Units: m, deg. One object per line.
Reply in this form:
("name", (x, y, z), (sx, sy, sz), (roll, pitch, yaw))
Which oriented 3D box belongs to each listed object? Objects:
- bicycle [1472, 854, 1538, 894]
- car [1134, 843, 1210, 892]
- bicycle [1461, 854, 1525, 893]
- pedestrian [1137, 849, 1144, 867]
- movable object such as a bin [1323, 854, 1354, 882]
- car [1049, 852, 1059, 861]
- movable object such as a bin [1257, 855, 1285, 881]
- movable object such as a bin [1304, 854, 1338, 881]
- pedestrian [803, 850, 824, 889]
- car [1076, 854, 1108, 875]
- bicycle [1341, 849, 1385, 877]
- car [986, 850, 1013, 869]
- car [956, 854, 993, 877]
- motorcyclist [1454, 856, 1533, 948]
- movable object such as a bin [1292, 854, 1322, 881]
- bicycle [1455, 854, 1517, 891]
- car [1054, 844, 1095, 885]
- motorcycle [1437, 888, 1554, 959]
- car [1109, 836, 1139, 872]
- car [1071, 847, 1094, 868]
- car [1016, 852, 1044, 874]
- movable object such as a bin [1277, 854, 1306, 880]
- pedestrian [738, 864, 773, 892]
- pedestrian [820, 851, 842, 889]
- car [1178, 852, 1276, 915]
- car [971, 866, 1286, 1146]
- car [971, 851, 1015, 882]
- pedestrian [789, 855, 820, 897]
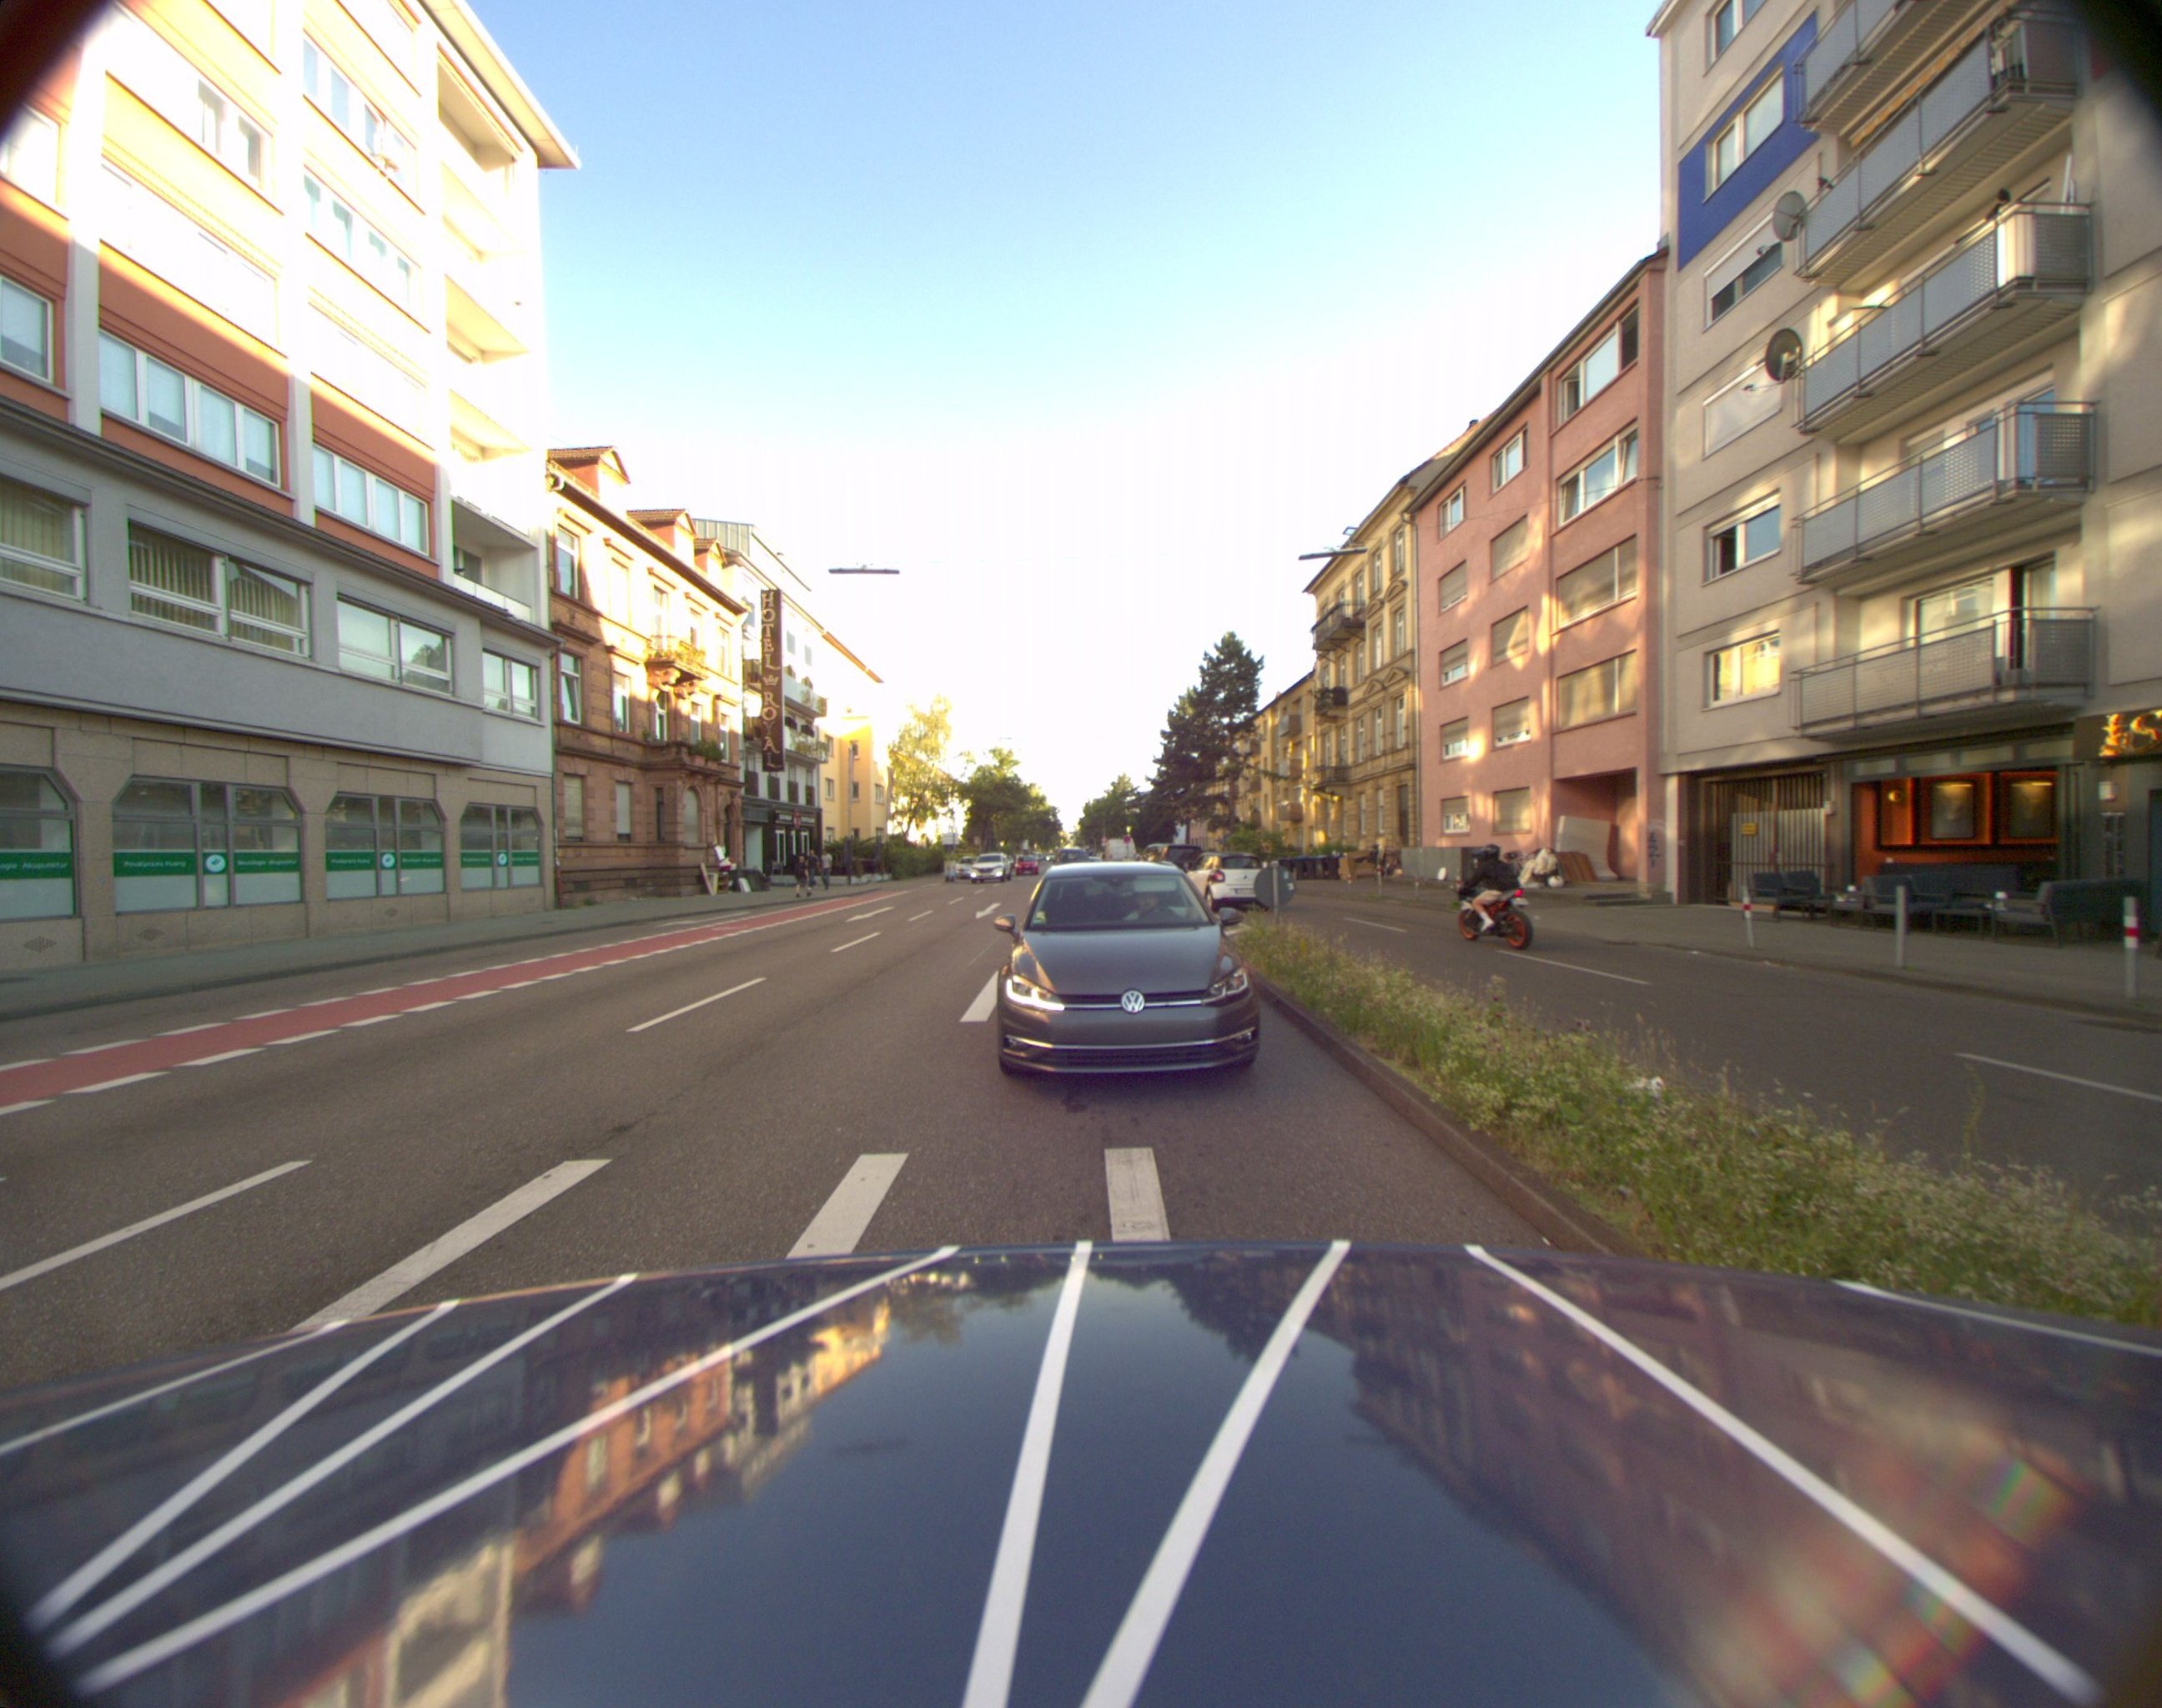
("bicycle", (13.099, 0.608, 23.479), (1.780, 1.184, 0.473), (-1, 1, -2))
("car", (3.659, 0.503, 31.459), (1.897, 1.843, 4.696), (0, 0, -9))
("bicycle", (13.119, 0.605, 24.213), (1.780, 1.184, 0.473), (-1, 1, -2))
("pedestrian", (5.180, 0.338, 65.974), (0.577, 1.591, 0.481), (-1, 1, 0))
("movable object such as a bin", (11.752, 0.610, 34.664), (1.196, 1.225, 0.847), (-2, 1, -40))
("car", (-5.111, 0.468, 144.308), (1.907, 1.532, 3.999), (-1, 1, 0))
("movable object such as a bin", (9.389, 0.668, 37.499), (0.847, 1.225, 1.196), (0, 1, 42))
("movable object such as a bin", (11.177, 0.621, 35.408), (1.295, 1.225, 0.926), (-2, 1, -40))
("pedestrian", (-12.161, 0.701, 34.557), (0.668, 1.716, 1.010), (-1, 1, -5))
("car", (0.701, 0.677, 52.893), (1.896, 1.382, 4.267), (0, 0, -4))
("bicycle", (12.669, 0.403, 34.180), (1.780, 1.184, 0.473), (-1, 1, -2))
("car", (-7.299, 0.487, 68.191), (1.947, 1.615, 4.193), (-1, 0, 0))
("car", (-7.312, 0.775, 52.396), (1.905, 1.508, 4.074), (-1, 0, 1))
("motorcyclist", (6.666, 0.748, 12.333), (0.750, 1.433, 0.958), (0, 1, -1))
("movable object such as a bin", (10.783, 0.628, 36.302), (1.196, 1.225, 0.847), (-2, 1, -40))
("bicycle", (13.199, 0.596, 24.792), (1.780, 1.184, 0.473), (-1, 1, -2))
("car", (-0.305, 0.472, 36.812), (1.895, 1.843, 4.466), (0, 0, 0))
("motorcycle", (6.665, 1.081, 12.348), (0.750, 0.957, 2.048), (0, 0, -1))
("car", (3.372, -0.045, 60.506), (2.136, 2.740, 4.465), (0, 1, 0))
("car", (0.106, 0.304, 65.623), (1.895, 1.729, 4.292), (0, 0, -2))
("car", (-3.789, 0.657, 57.047), (1.674, 1.454, 3.999), (-2, 1, 1))
("movable object such as a bin", (10.254, 0.640, 37.005), (1.196, 1.225, 0.847), (-2, 1, -40))
("pedestrian", (-13.786, 1.005, 32.192), (1.100, 1.129, 0.924), (-1, 1, -2))
("pedestrian", (-11.363, 0.705, 34.550), (0.668, 1.716, 1.010), (-1, 1, -4))
("car", (3.855, 0.729, 20.587), (1.596, 1.533, 3.402), (0, 1, -7))
("car", (0.298, 0.916, 6.533), (1.770, 1.450, 4.269), (-2, 1, 1))
("car", (-5.037, 0.695, 43.864), (1.921, 1.598, 4.269), (-2, 1, 1))
("pedestrian", (-10.776, 0.845, 29.594), (0.738, 1.593, 1.011), (2, 1, 5))
